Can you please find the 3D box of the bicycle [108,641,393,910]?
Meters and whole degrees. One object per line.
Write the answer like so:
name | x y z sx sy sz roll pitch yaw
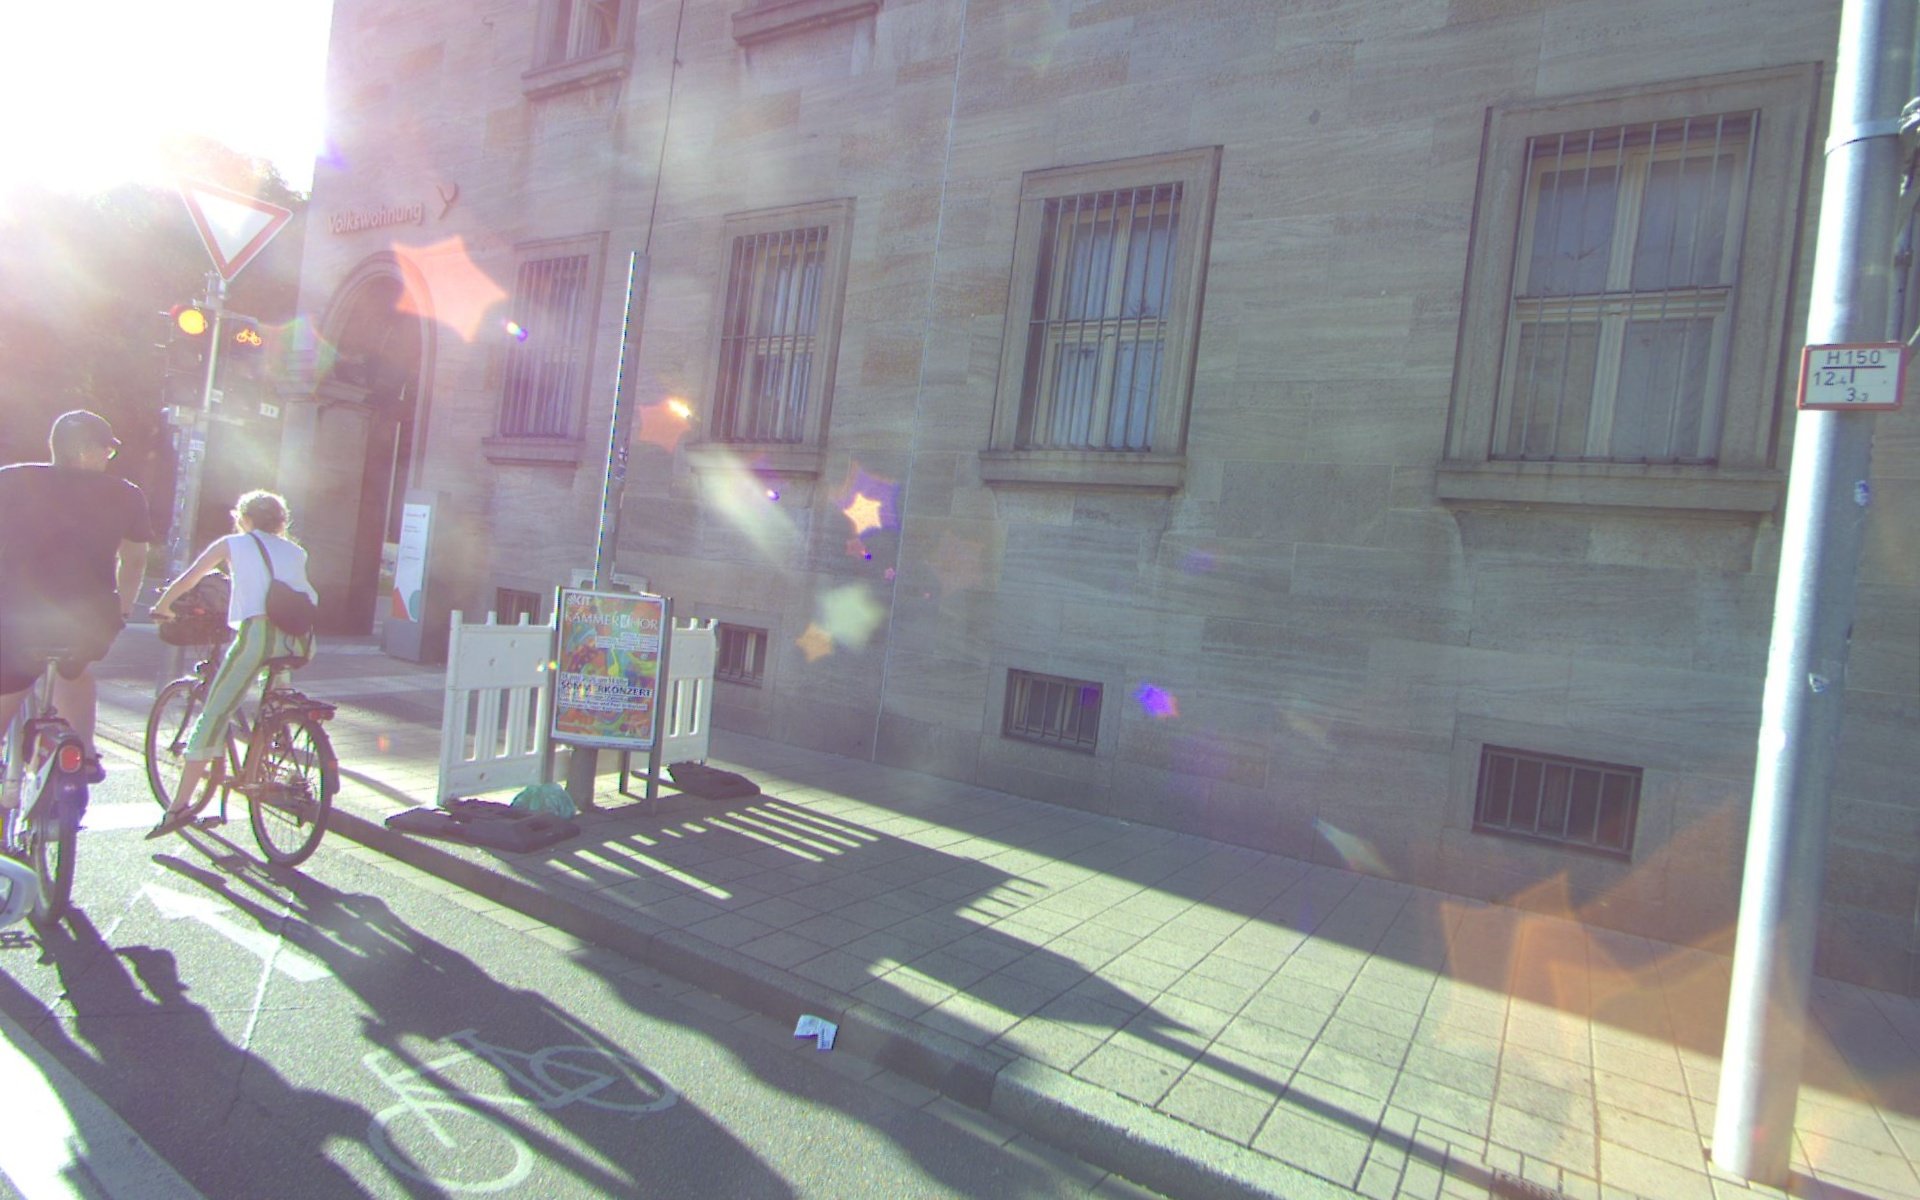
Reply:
bicycle | -3.480 0.764 4.862 1.920 0.887 0.427 7 0 35

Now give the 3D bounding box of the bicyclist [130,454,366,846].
bicyclist | -3.412 0.204 4.816 0.845 1.700 0.522 7 0 35

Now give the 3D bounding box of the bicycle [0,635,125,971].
bicycle | -3.807 0.693 3.984 1.923 0.916 0.388 7 0 41

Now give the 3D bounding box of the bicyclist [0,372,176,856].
bicyclist | -3.555 0.044 3.806 0.647 1.698 0.669 7 0 39
